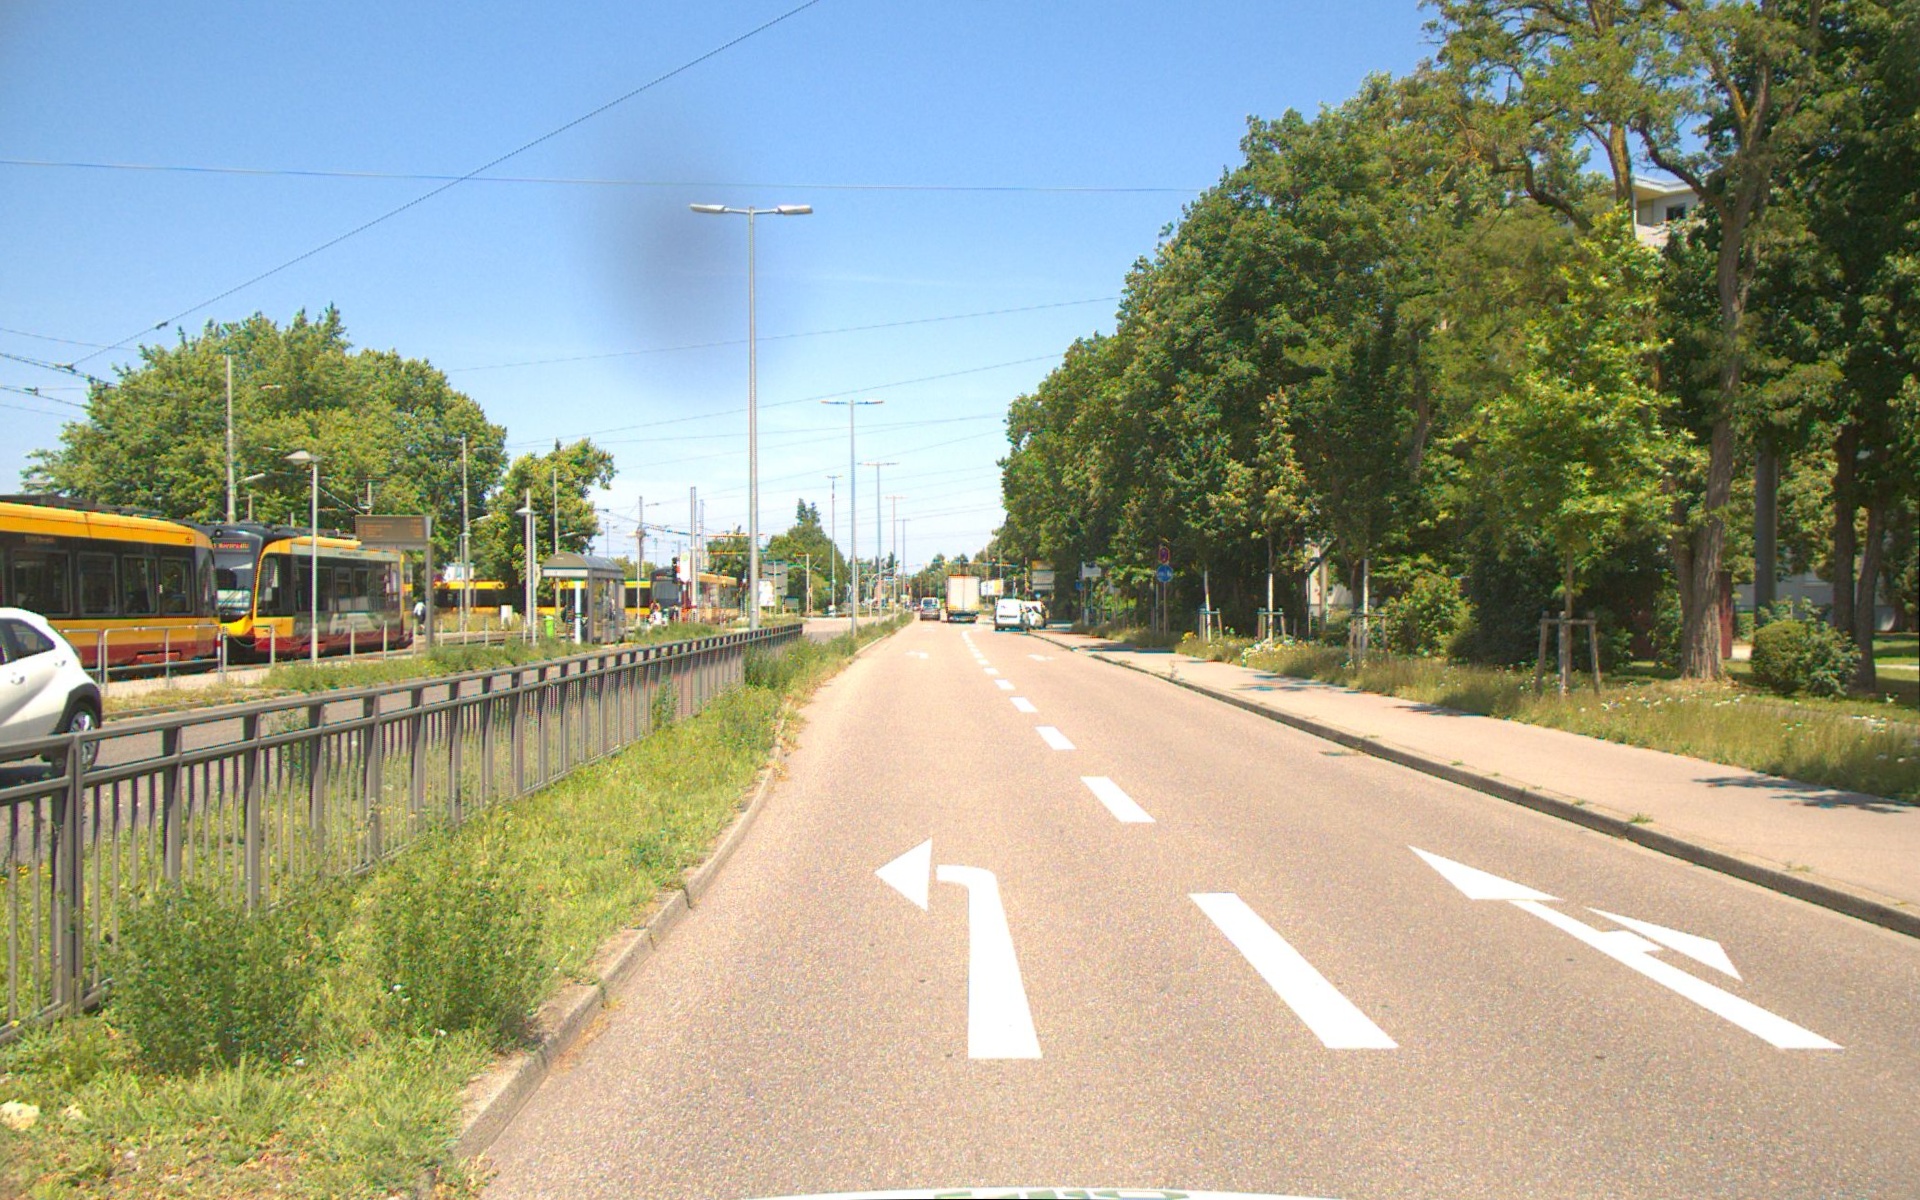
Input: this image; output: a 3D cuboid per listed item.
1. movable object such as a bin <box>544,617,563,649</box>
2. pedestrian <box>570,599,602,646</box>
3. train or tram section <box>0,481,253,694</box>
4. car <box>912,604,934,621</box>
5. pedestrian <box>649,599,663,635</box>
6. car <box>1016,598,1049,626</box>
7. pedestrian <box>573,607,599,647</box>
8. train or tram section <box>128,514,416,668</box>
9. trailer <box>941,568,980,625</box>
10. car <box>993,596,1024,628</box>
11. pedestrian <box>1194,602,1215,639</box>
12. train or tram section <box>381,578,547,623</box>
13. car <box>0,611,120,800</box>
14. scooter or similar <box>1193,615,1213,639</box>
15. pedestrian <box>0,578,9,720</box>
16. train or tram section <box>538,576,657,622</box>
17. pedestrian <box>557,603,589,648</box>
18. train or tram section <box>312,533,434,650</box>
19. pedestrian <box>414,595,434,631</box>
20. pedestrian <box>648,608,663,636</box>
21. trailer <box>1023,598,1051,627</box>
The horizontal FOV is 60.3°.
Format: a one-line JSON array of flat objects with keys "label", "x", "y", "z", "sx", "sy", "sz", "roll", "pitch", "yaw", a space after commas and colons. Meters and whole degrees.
[{"label": "movable object such as a bin", "x": -12.701, "y": 1.026, "z": 51.653, "sx": 0.472, "sy": 0.995, "sz": 0.644, "roll": 0, "pitch": 0, "yaw": -5}, {"label": "pedestrian", "x": -12.889, "y": 0.760, "z": 57.035, "sx": 0.856, "sy": 1.573, "sz": 1.025, "roll": 1, "pitch": 0, "yaw": -3}, {"label": "train or tram section", "x": -18.728, "y": -0.250, "z": 33.556, "sx": 2.981, "sy": 3.833, "sz": 13.260, "roll": 1, "pitch": 0, "yaw": 0}, {"label": "car", "x": -3.317, "y": 1.092, "z": 147.424, "sx": 1.854, "sy": 1.396, "sz": 4.428, "roll": 2, "pitch": 0, "yaw": -2}, {"label": "pedestrian", "x": -13.628, "y": 0.749, "z": 74.218, "sx": 0.524, "sy": 1.593, "sz": 0.582, "roll": 1, "pitch": 0, "yaw": -2}, {"label": "car", "x": 4.562, "y": 0.747, "z": 104.427, "sx": 1.665, "sy": 1.683, "sz": 4.396, "roll": 1, "pitch": 0, "yaw": -2}, {"label": "pedestrian", "x": -12.473, "y": 0.900, "z": 55.152, "sx": 0.687, "sy": 1.306, "sz": 0.839, "roll": 1, "pitch": 0, "yaw": -3}, {"label": "train or tram section", "x": -18.995, "y": -0.215, "z": 47.163, "sx": 2.983, "sy": 3.688, "sz": 13.889, "roll": 1, "pitch": 0, "yaw": -3}, {"label": "trailer", "x": -0.018, "y": -0.261, "z": 136.392, "sx": 2.770, "sy": 4.499, "sz": 8.745, "roll": 1, "pitch": 0, "yaw": -2}, {"label": "car", "x": 2.807, "y": 0.676, "z": 95.057, "sx": 1.674, "sy": 1.778, "sz": 4.428, "roll": 1, "pitch": 0, "yaw": 2}, {"label": "pedestrian", "x": 9.573, "y": 0.791, "z": 64.730, "sx": 0.693, "sy": 1.422, "sz": 0.763, "roll": 1, "pitch": 0, "yaw": 0}, {"label": "train or tram section", "x": -41.757, "y": 0.049, "z": 139.621, "sx": 12.967, "sy": 3.526, "sz": 3.042, "roll": 1, "pitch": 0, "yaw": -6}, {"label": "car", "x": -8.736, "y": 0.869, "z": 13.754, "sx": 1.734, "sy": 1.531, "sz": 3.718, "roll": 0, "pitch": 0, "yaw": -3}, {"label": "scooter or similar", "x": 9.587, "y": 1.049, "z": 65.238, "sx": 0.693, "sy": 0.909, "sz": 0.763, "roll": 1, "pitch": 0, "yaw": 0}, {"label": "pedestrian", "x": -12.556, "y": 0.620, "z": 20.896, "sx": 0.619, "sy": 1.822, "sz": 0.776, "roll": 1, "pitch": 0, "yaw": -3}, {"label": "train or tram section", "x": -29.866, "y": -0.161, "z": 135.723, "sx": 12.533, "sy": 3.526, "sz": 3.026, "roll": 1, "pitch": 0, "yaw": 44}, {"label": "pedestrian", "x": -13.603, "y": 0.892, "z": 58.157, "sx": 0.912, "sy": 1.573, "sz": 0.985, "roll": 1, "pitch": 0, "yaw": -3}, {"label": "train or tram section", "x": -20.690, "y": -0.280, "z": 58.934, "sx": 2.993, "sy": 3.688, "sz": 12.402, "roll": 1, "pitch": 0, "yaw": -15}, {"label": "pedestrian", "x": -23.898, "y": 0.581, "z": 73.766, "sx": 0.788, "sy": 1.593, "sz": 0.534, "roll": 1, "pitch": 0, "yaw": -16}, {"label": "pedestrian", "x": -13.405, "y": 0.952, "z": 72.818, "sx": 0.569, "sy": 1.210, "sz": 0.536, "roll": 1, "pitch": 0, "yaw": -4}, {"label": "trailer", "x": 4.701, "y": 0.735, "z": 100.799, "sx": 1.439, "sy": 1.698, "sz": 2.854, "roll": 1, "pitch": 0, "yaw": -2}]
